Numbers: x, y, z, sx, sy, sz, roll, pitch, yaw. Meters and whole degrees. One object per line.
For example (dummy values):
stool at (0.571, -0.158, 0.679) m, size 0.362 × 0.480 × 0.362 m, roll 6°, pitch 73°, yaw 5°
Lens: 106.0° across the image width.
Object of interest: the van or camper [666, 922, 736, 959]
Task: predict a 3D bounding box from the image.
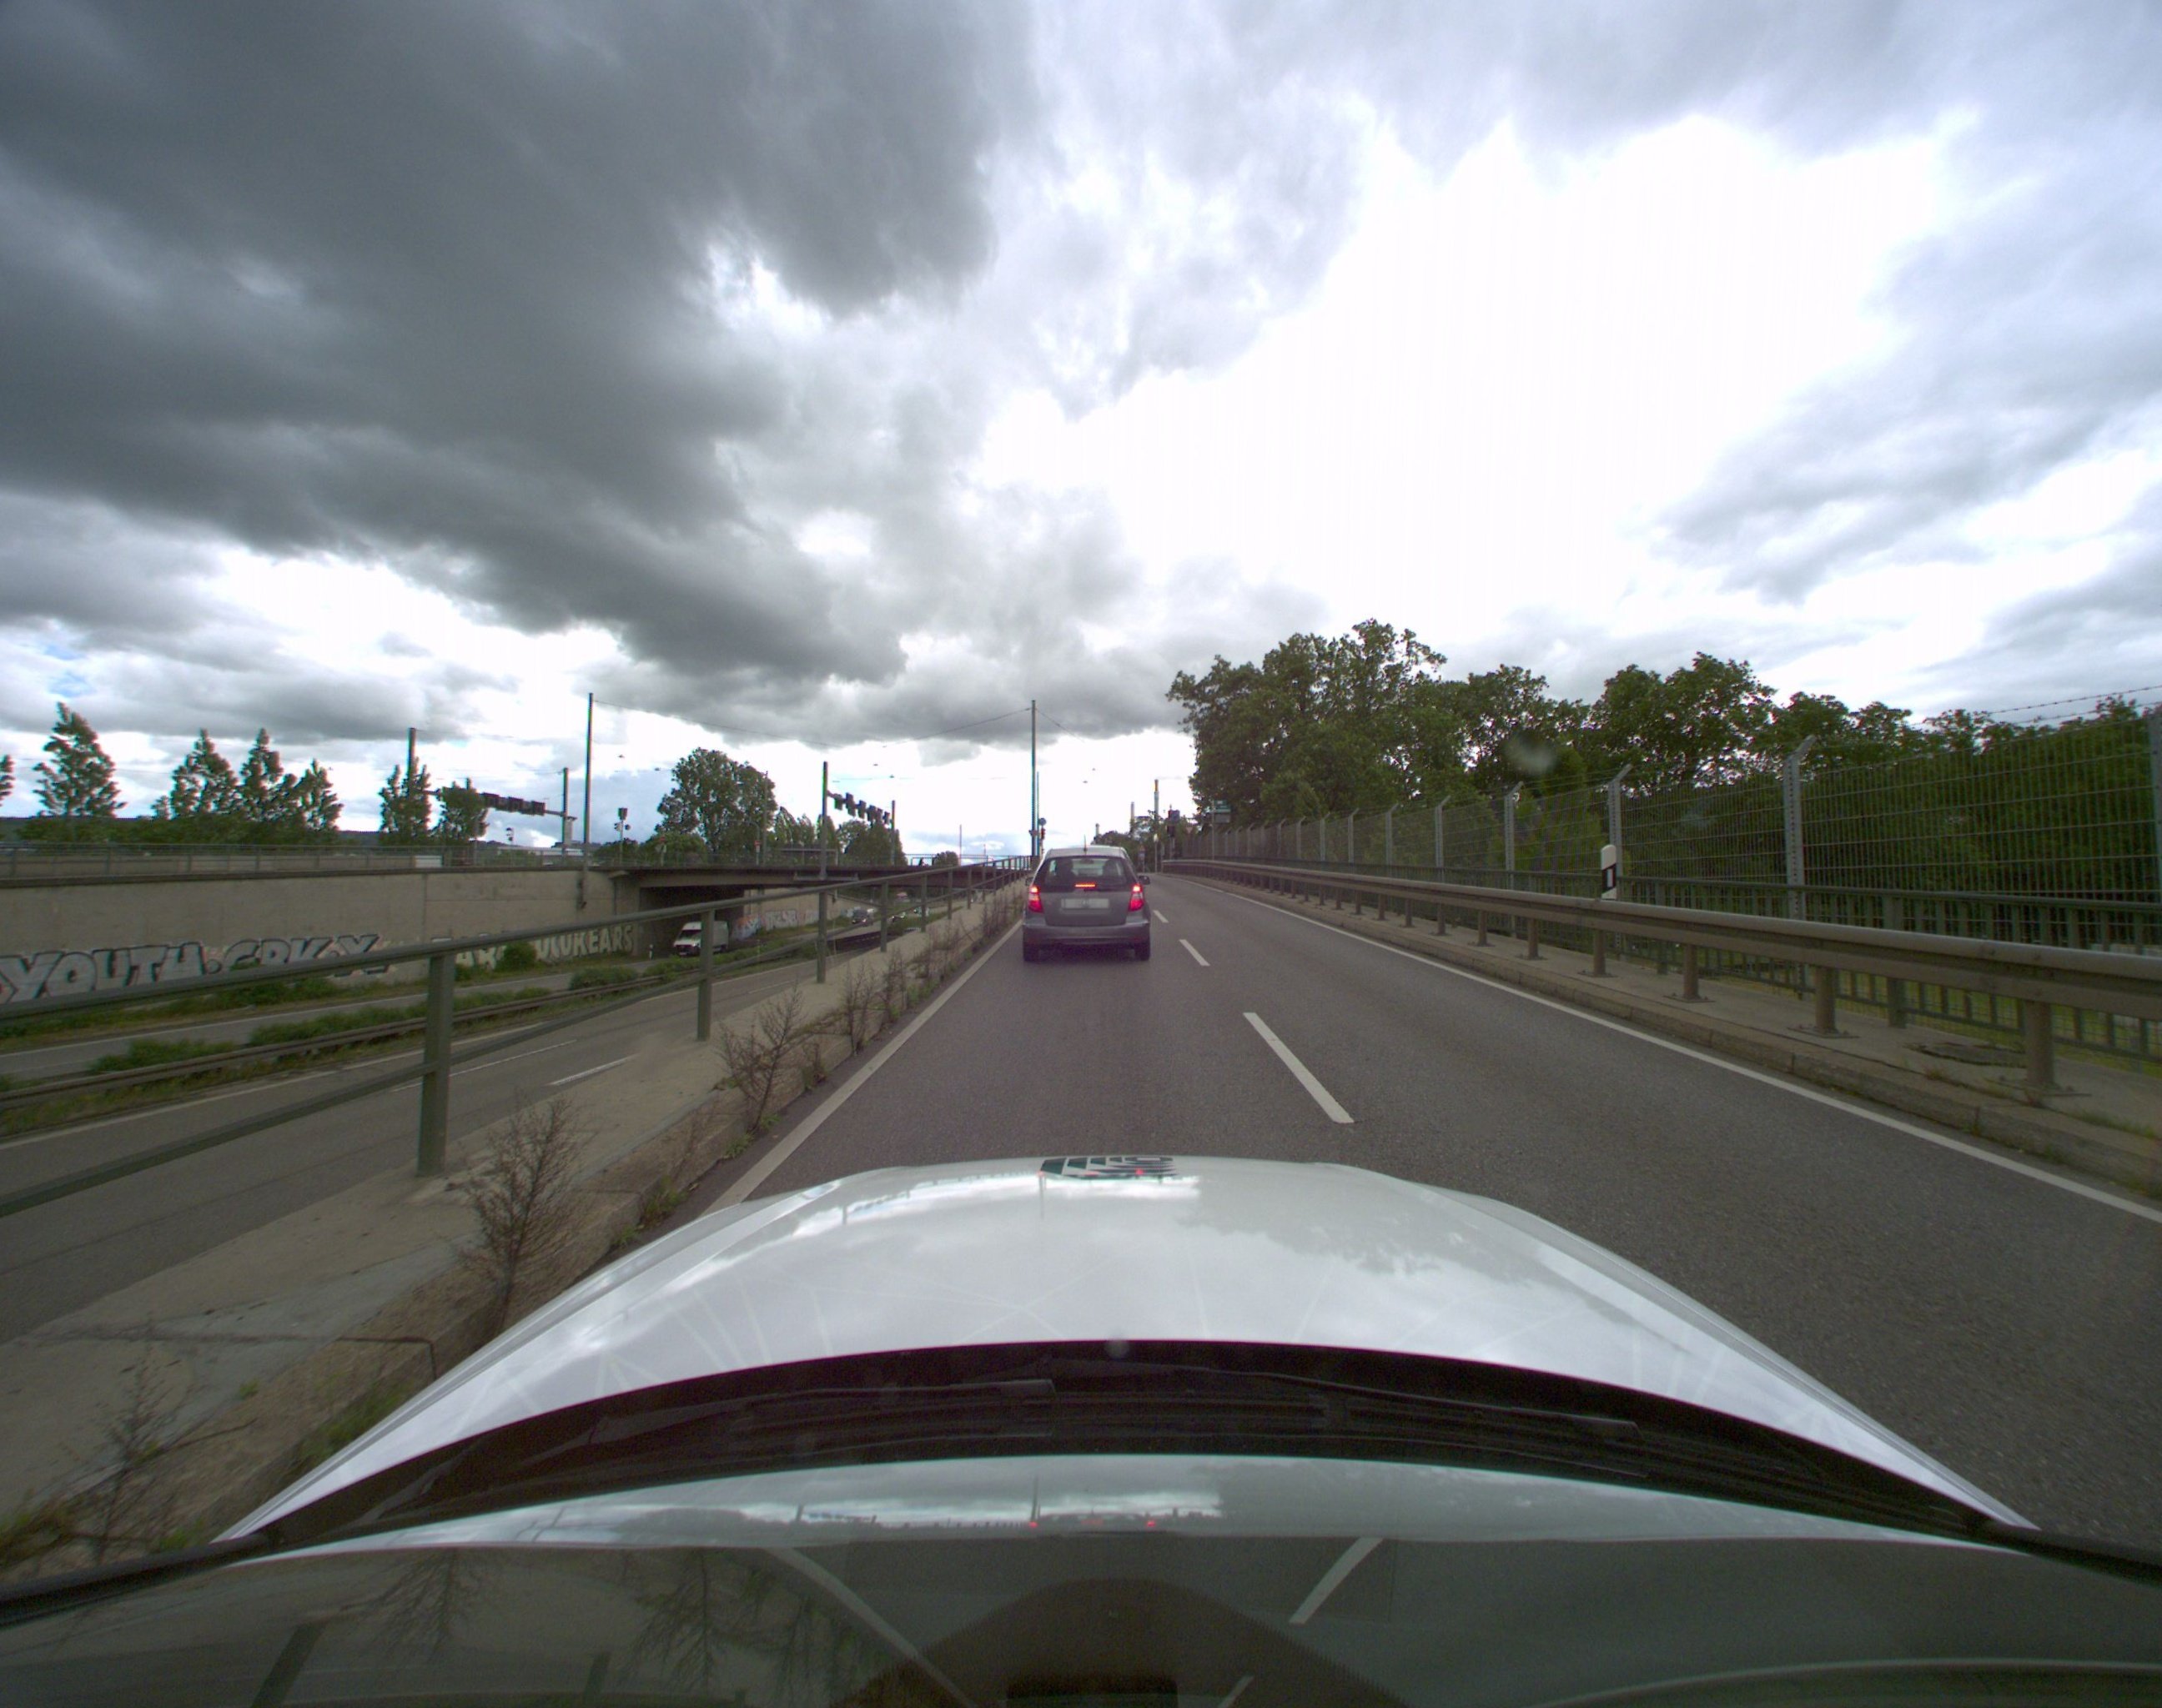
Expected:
van or camper at (-28.658, 6.463, 61.703) m, size 2.175 × 2.457 × 6.345 m, roll 0°, pitch -3°, yaw 0°

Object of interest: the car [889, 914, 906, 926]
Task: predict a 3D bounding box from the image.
car at (-29.181, 10.536, 129.759) m, size 1.990 × 1.689 × 3.992 m, roll -1°, pitch -2°, yaw -5°

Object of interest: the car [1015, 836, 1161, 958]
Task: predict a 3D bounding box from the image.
car at (0.285, 0.682, 12.647) m, size 1.740 × 1.581 × 4.092 m, roll -1°, pitch -4°, yaw 8°

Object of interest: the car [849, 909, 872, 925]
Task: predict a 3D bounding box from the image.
car at (-31.756, 9.094, 117.488) m, size 2.287 × 2.156 × 6.169 m, roll -1°, pitch -4°, yaw -5°

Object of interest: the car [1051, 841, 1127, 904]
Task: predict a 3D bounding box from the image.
car at (0.269, 0.466, 23.754) m, size 1.986 × 1.603 × 4.001 m, roll -1°, pitch 1°, yaw 1°

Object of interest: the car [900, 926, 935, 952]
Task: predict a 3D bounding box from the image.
car at (-12.481, 6.467, 62.414) m, size 1.674 × 1.736 × 3.999 m, roll -2°, pitch -3°, yaw 2°
